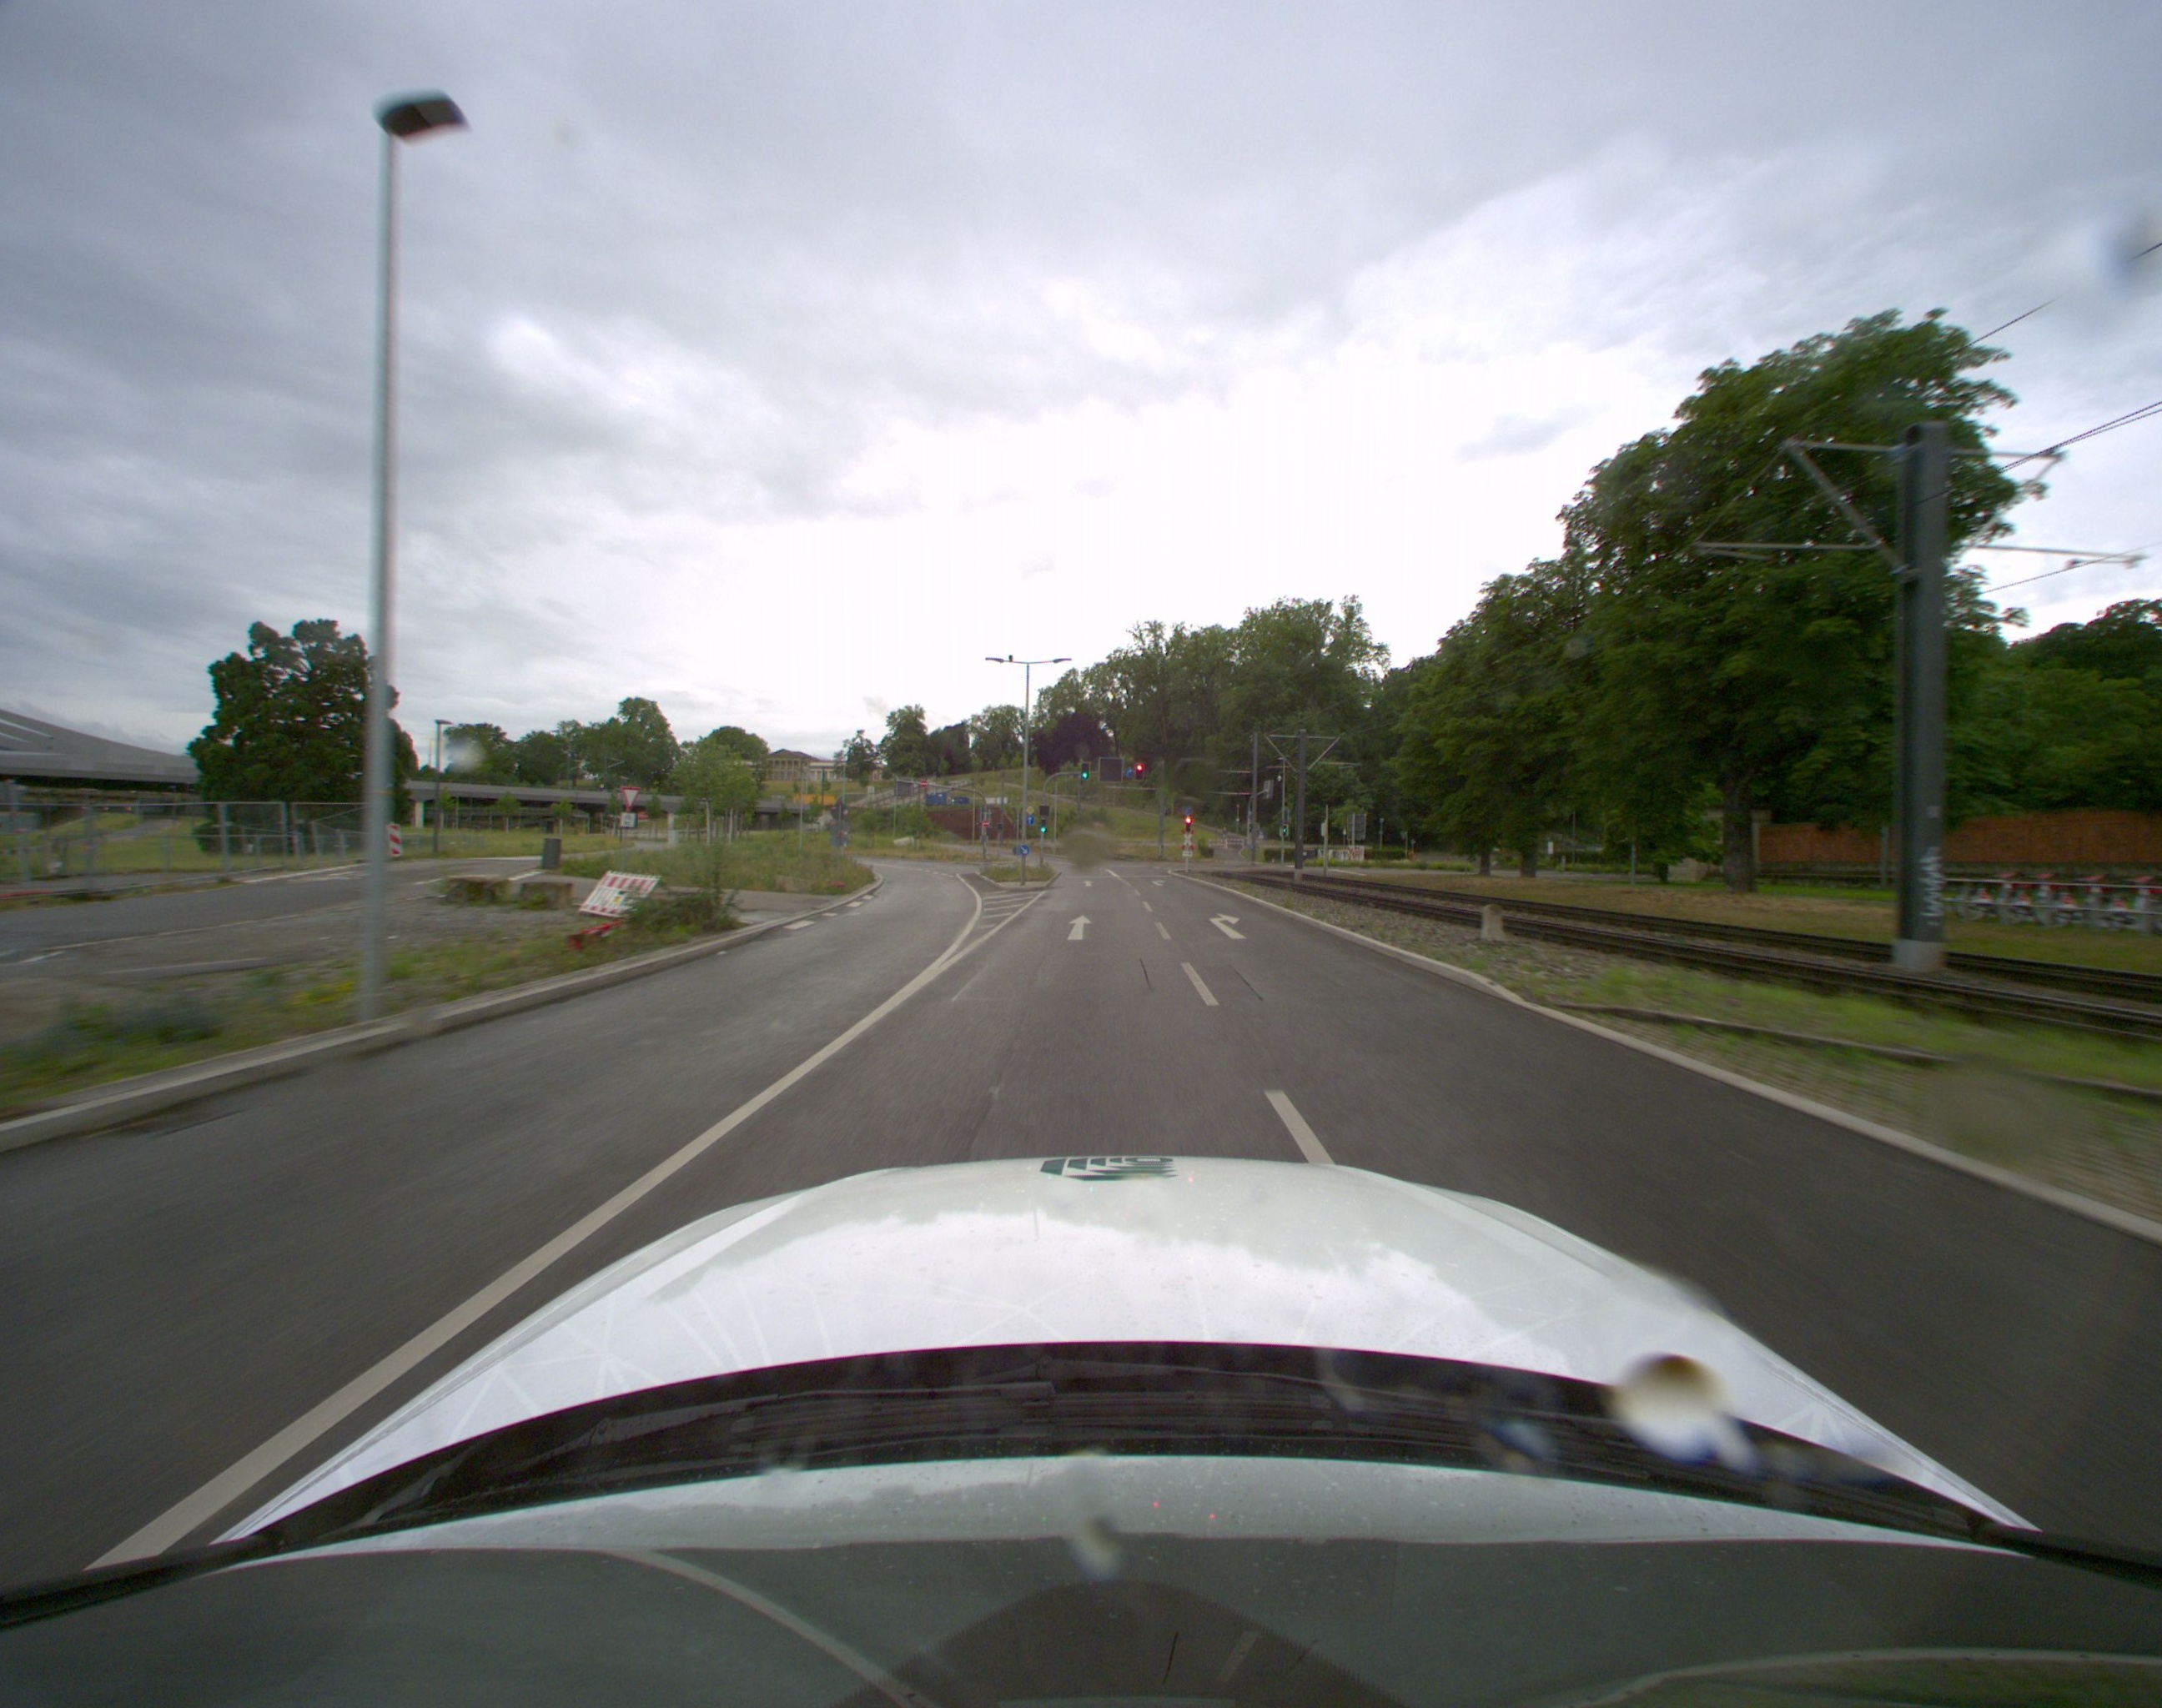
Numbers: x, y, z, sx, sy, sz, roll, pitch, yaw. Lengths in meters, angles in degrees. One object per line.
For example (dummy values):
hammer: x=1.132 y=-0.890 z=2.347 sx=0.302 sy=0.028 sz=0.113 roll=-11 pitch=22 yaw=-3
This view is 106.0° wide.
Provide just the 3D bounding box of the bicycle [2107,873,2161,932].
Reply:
bicycle: x=19.814 y=0.869 z=14.691 sx=1.829 sy=1.032 sz=0.652 roll=0 pitch=0 yaw=-1

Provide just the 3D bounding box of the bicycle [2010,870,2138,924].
bicycle: x=19.895 y=0.851 z=16.343 sx=1.804 sy=1.032 sz=0.653 roll=0 pitch=0 yaw=-1

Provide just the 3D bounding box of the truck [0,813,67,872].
truck: x=-54.486 y=-0.593 z=38.381 sx=7.996 sy=2.802 sz=2.397 roll=1 pitch=0 yaw=-36

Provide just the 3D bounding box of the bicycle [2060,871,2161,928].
bicycle: x=19.839 y=0.855 z=15.436 sx=1.804 sy=1.032 sz=0.653 roll=0 pitch=0 yaw=-1

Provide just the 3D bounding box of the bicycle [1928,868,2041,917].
bicycle: x=19.975 y=0.843 z=18.027 sx=1.804 sy=1.032 sz=0.653 roll=0 pitch=0 yaw=-1

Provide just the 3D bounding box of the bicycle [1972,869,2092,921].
bicycle: x=19.997 y=0.851 z=17.144 sx=1.804 sy=1.032 sz=0.653 roll=0 pitch=0 yaw=-1

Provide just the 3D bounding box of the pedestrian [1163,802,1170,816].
pedestrian: x=13.144 y=-6.965 z=125.378 sx=0.789 sy=2.012 sz=0.654 roll=-3 pitch=6 yaw=-14

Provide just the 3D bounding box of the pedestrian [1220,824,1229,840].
pedestrian: x=16.901 y=-2.598 z=96.001 sx=0.951 sy=1.781 sz=1.127 roll=3 pitch=1 yaw=13
